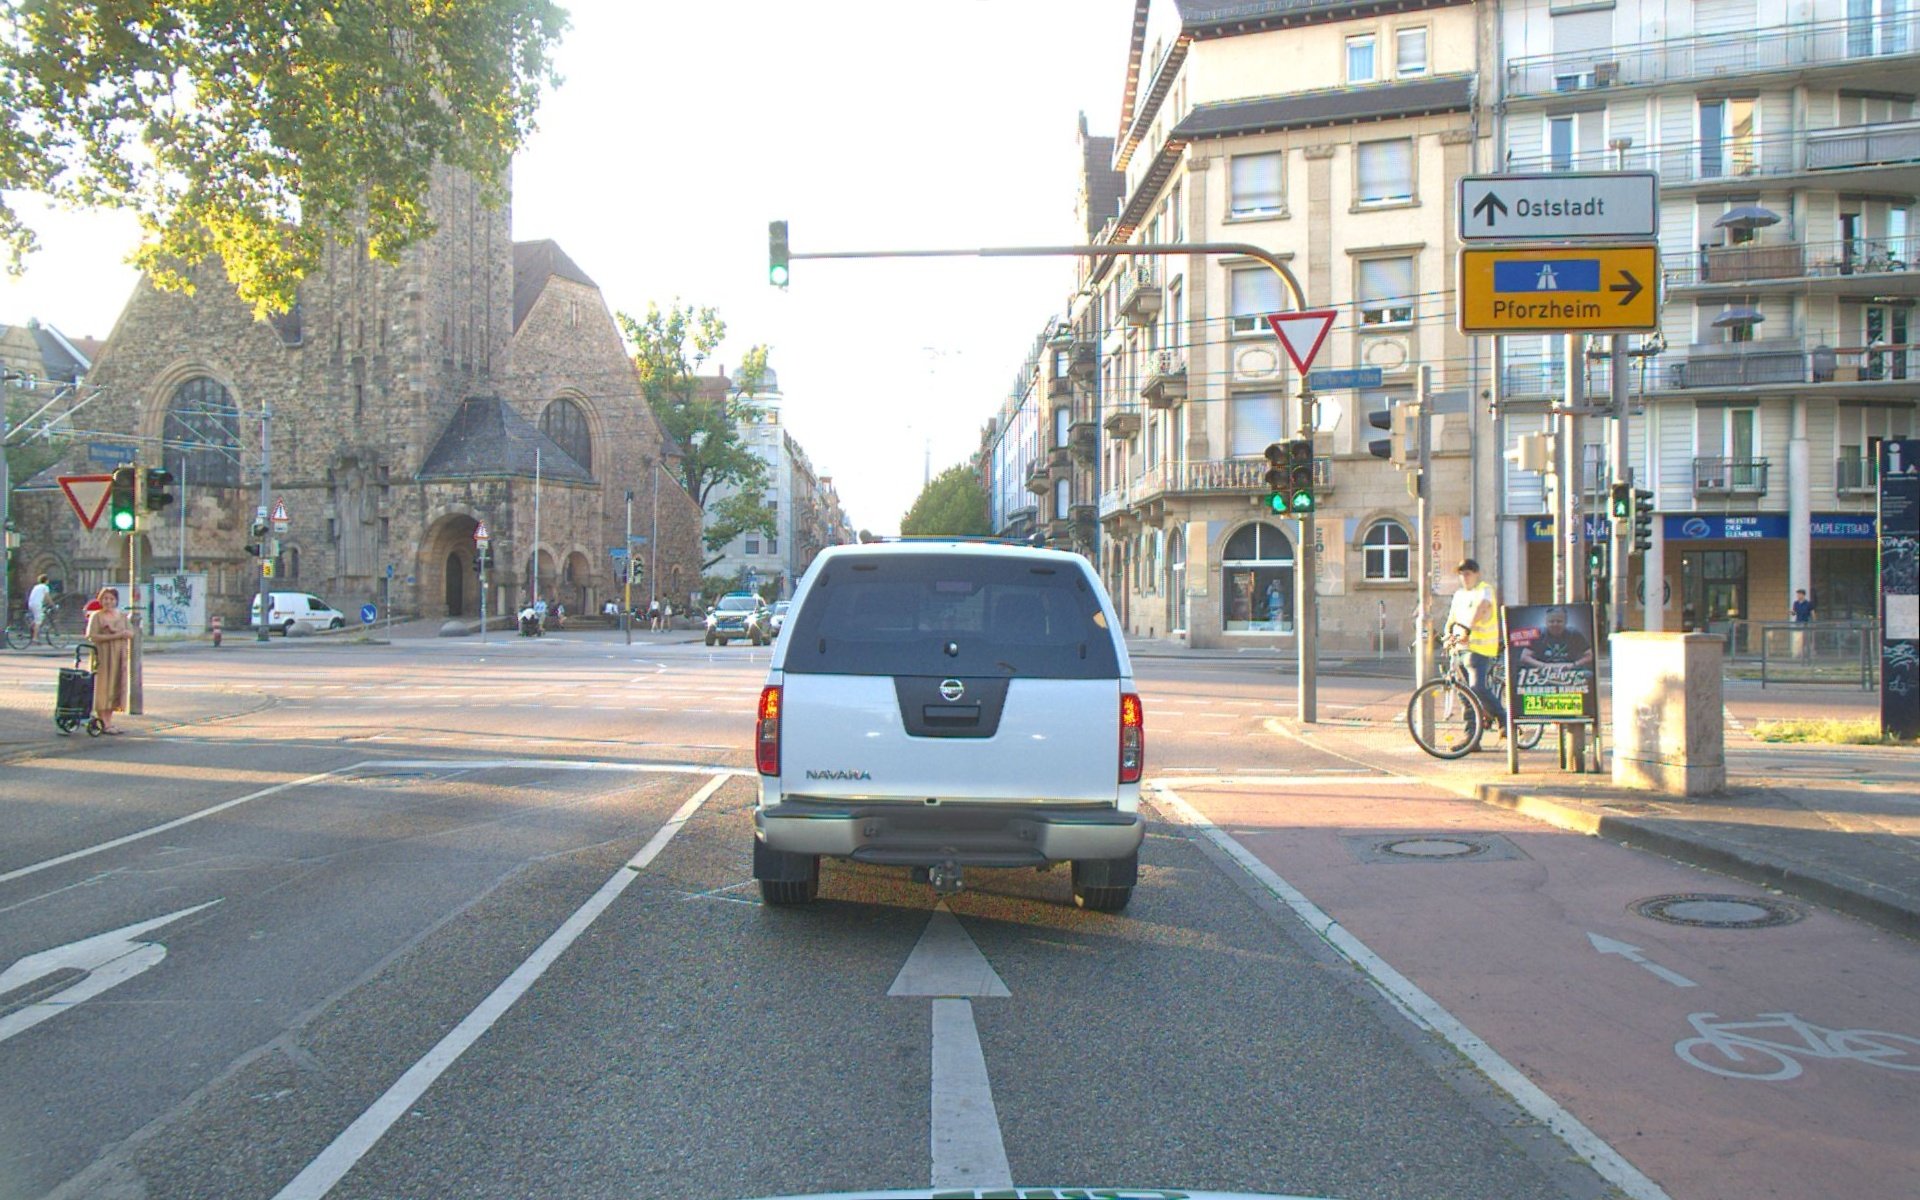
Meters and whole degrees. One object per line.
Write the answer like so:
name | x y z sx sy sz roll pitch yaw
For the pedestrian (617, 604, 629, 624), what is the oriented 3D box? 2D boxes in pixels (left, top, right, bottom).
pedestrian | -16.169 0.662 79.293 0.513 0.977 0.477 1 -1 -17

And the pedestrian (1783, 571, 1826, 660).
pedestrian | 21.772 0.399 42.649 0.850 2.247 0.821 1 -1 19

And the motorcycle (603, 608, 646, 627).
motorcycle | -18.379 0.958 90.654 2.201 1.005 0.707 1 -1 -7

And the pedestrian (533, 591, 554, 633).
pedestrian | -17.392 0.495 69.034 0.620 1.728 0.603 1 -1 10

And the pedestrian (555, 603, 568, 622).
pedestrian | -20.474 0.654 85.009 0.544 0.977 0.704 1 -1 -23

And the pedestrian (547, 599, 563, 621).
pedestrian | -18.037 0.461 73.665 0.511 0.977 0.479 1 -1 18

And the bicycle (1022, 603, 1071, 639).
bicycle | 3.348 0.811 63.890 1.781 1.259 0.412 -3 -1 -3

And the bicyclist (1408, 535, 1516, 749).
bicyclist | 4.487 0.368 14.780 0.690 1.856 0.621 1 -1 -33

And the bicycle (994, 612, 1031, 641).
bicycle | 2.018 1.020 63.549 1.344 1.042 0.317 -3 -1 -3

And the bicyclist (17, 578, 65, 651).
bicyclist | -24.271 0.366 43.676 0.643 1.859 0.859 1 3 25

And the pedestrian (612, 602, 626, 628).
pedestrian | -16.709 0.751 81.038 0.468 1.267 0.523 1 -1 16

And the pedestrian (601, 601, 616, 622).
pedestrian | -16.878 0.544 79.392 0.510 0.977 0.479 1 -1 16

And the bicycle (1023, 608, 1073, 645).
bicycle | 3.318 0.998 62.450 1.781 1.259 0.487 -3 -1 -3

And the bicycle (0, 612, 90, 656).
bicycle | -24.249 0.894 43.718 0.644 1.096 2.242 3 0 27

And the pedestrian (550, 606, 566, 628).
pedestrian | -18.181 0.752 74.831 0.469 0.977 0.522 0 -1 29

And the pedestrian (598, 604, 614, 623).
pedestrian | -18.706 0.709 87.448 0.540 0.977 0.710 1 -1 20

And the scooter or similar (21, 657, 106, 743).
scooter or similar | -9.950 1.099 18.375 0.580 0.913 0.849 1 -1 -11

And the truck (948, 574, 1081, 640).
truck | 2.286 0.307 68.061 5.630 2.610 2.250 1 -1 -45

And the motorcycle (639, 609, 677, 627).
motorcycle | -17.345 1.023 94.985 2.119 1.005 0.594 1 -1 19

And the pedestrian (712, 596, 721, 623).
pedestrian | -15.560 0.614 105.673 0.549 1.725 0.643 1 -1 -9

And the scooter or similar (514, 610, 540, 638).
scooter or similar | -17.827 0.974 68.095 0.620 1.122 1.079 -1 -1 10

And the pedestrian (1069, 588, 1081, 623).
pedestrian | 5.471 0.271 78.897 0.517 1.683 0.547 1 -1 -1

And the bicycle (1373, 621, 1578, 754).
bicycle | 4.662 0.765 14.899 2.046 1.129 0.621 1 -1 -34

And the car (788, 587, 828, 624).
car | -8.709 0.303 95.068 1.953 2.049 4.948 0 0 -2

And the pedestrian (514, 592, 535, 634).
pedestrian | -18.226 0.534 69.168 0.620 1.728 0.603 1 -1 9

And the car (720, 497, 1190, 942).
car | -0.043 0.529 8.978 1.953 1.841 3.999 1 -1 -1

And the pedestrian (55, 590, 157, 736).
pedestrian | -9.917 0.726 19.237 0.786 1.656 0.773 1 -1 -6

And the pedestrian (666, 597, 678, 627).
pedestrian | -16.818 0.698 96.509 0.631 1.725 0.560 1 -1 -9

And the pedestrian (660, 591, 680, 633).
pedestrian | -13.384 0.554 76.316 0.796 1.934 0.666 1 -1 -3

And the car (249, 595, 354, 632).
car | -29.144 0.613 73.361 1.679 1.543 4.454 1 -1 23

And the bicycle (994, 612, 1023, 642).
bicycle | 1.839 1.025 62.835 1.055 1.042 0.317 -3 -1 -3

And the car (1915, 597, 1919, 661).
car | 24.437 0.698 38.202 3.907 1.512 1.849 1 -1 24

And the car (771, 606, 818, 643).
car | -7.634 1.101 76.503 1.954 1.585 4.765 -2 0 -4

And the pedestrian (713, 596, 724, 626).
pedestrian | -15.303 0.693 104.837 0.632 1.888 0.559 1 -1 -15

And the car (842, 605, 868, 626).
car | -8.140 1.210 128.034 1.821 1.556 3.999 1 -1 -1

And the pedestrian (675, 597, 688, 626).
pedestrian | -16.637 0.685 98.813 0.630 1.725 0.561 1 -1 -2

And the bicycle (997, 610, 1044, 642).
bicycle | 2.268 0.976 61.958 1.692 1.102 0.317 -3 -1 -3

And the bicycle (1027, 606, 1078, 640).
bicycle | 3.444 0.860 61.513 1.781 1.170 0.636 -3 -1 -3

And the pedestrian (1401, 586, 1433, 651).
pedestrian | 12.895 0.516 46.678 0.771 1.810 0.543 0 -1 24

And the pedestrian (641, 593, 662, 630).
pedestrian | -14.237 0.526 76.315 0.796 1.699 0.859 1 -1 -3

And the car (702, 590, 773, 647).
car | -7.705 0.602 57.670 1.953 1.815 4.796 -1 1 -2

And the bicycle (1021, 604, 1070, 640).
bicycle | 3.260 0.836 63.162 1.781 1.259 0.477 -3 -1 -3

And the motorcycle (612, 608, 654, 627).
motorcycle | -18.315 0.982 92.682 2.201 1.005 0.707 1 -1 -7
